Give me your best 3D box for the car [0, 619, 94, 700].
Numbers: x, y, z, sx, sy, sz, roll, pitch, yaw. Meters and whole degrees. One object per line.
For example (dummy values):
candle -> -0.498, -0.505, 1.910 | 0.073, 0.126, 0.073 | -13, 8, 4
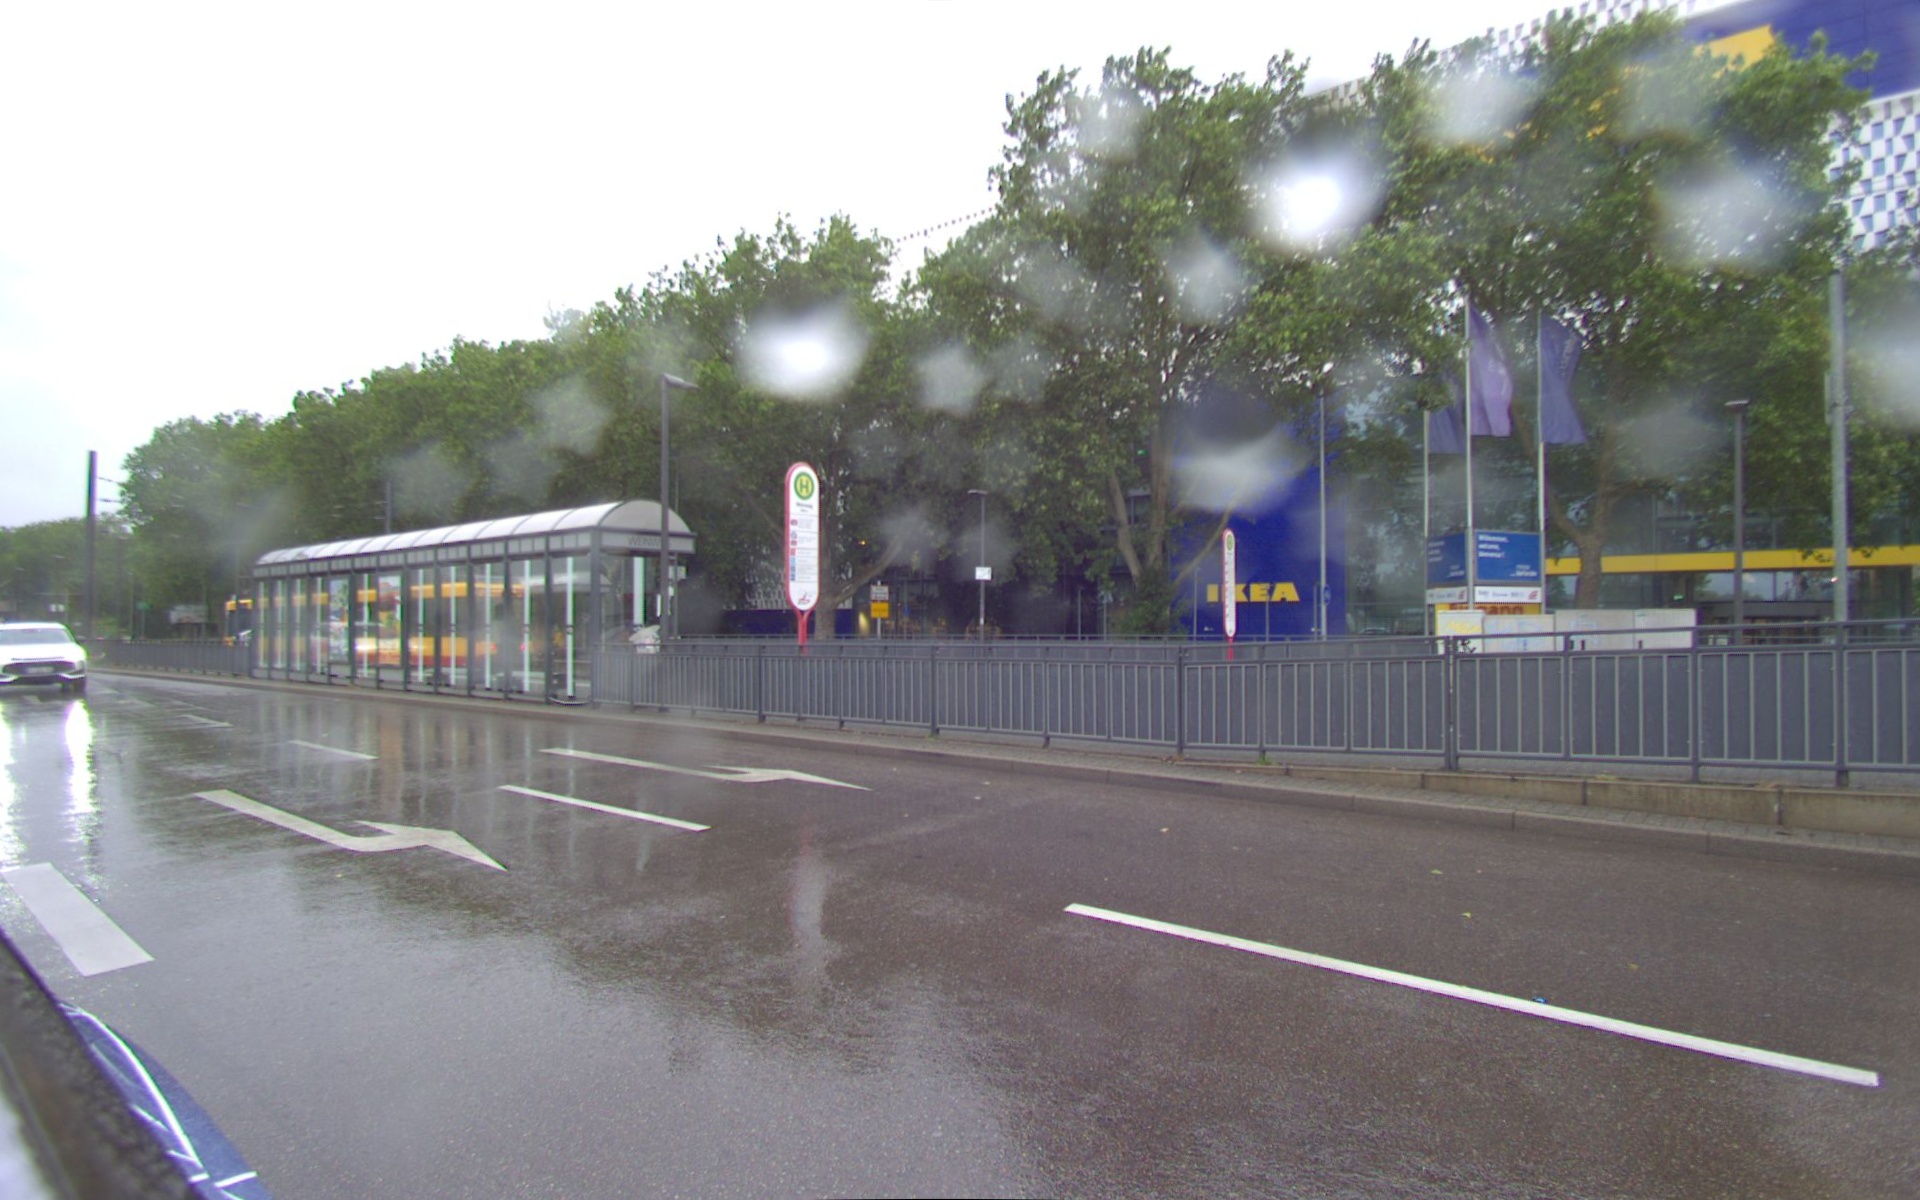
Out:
car -> -23.031, 1.402, 24.946 | 4.661, 1.788, 1.910 | -1, 0, 41

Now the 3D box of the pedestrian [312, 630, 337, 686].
pedestrian -> -14.584, 1.324, 23.218 | 0.451, 1.245, 0.468 | 0, 0, -35

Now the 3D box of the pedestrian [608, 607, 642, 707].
pedestrian -> -5.177, 0.869, 15.636 | 0.317, 1.504, 0.416 | -2, 1, -44

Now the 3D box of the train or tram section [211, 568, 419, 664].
train or tram section -> -30.224, 0.728, 46.845 | 15.560, 3.827, 3.703 | -1, 0, 40

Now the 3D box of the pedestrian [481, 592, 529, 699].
pedestrian -> -8.310, 0.809, 18.478 | 0.646, 1.885, 0.774 | -1, 0, -33

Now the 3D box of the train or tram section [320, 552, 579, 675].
train or tram section -> -19.272, 0.499, 37.464 | 13.245, 3.868, 3.703 | -1, 0, 40
